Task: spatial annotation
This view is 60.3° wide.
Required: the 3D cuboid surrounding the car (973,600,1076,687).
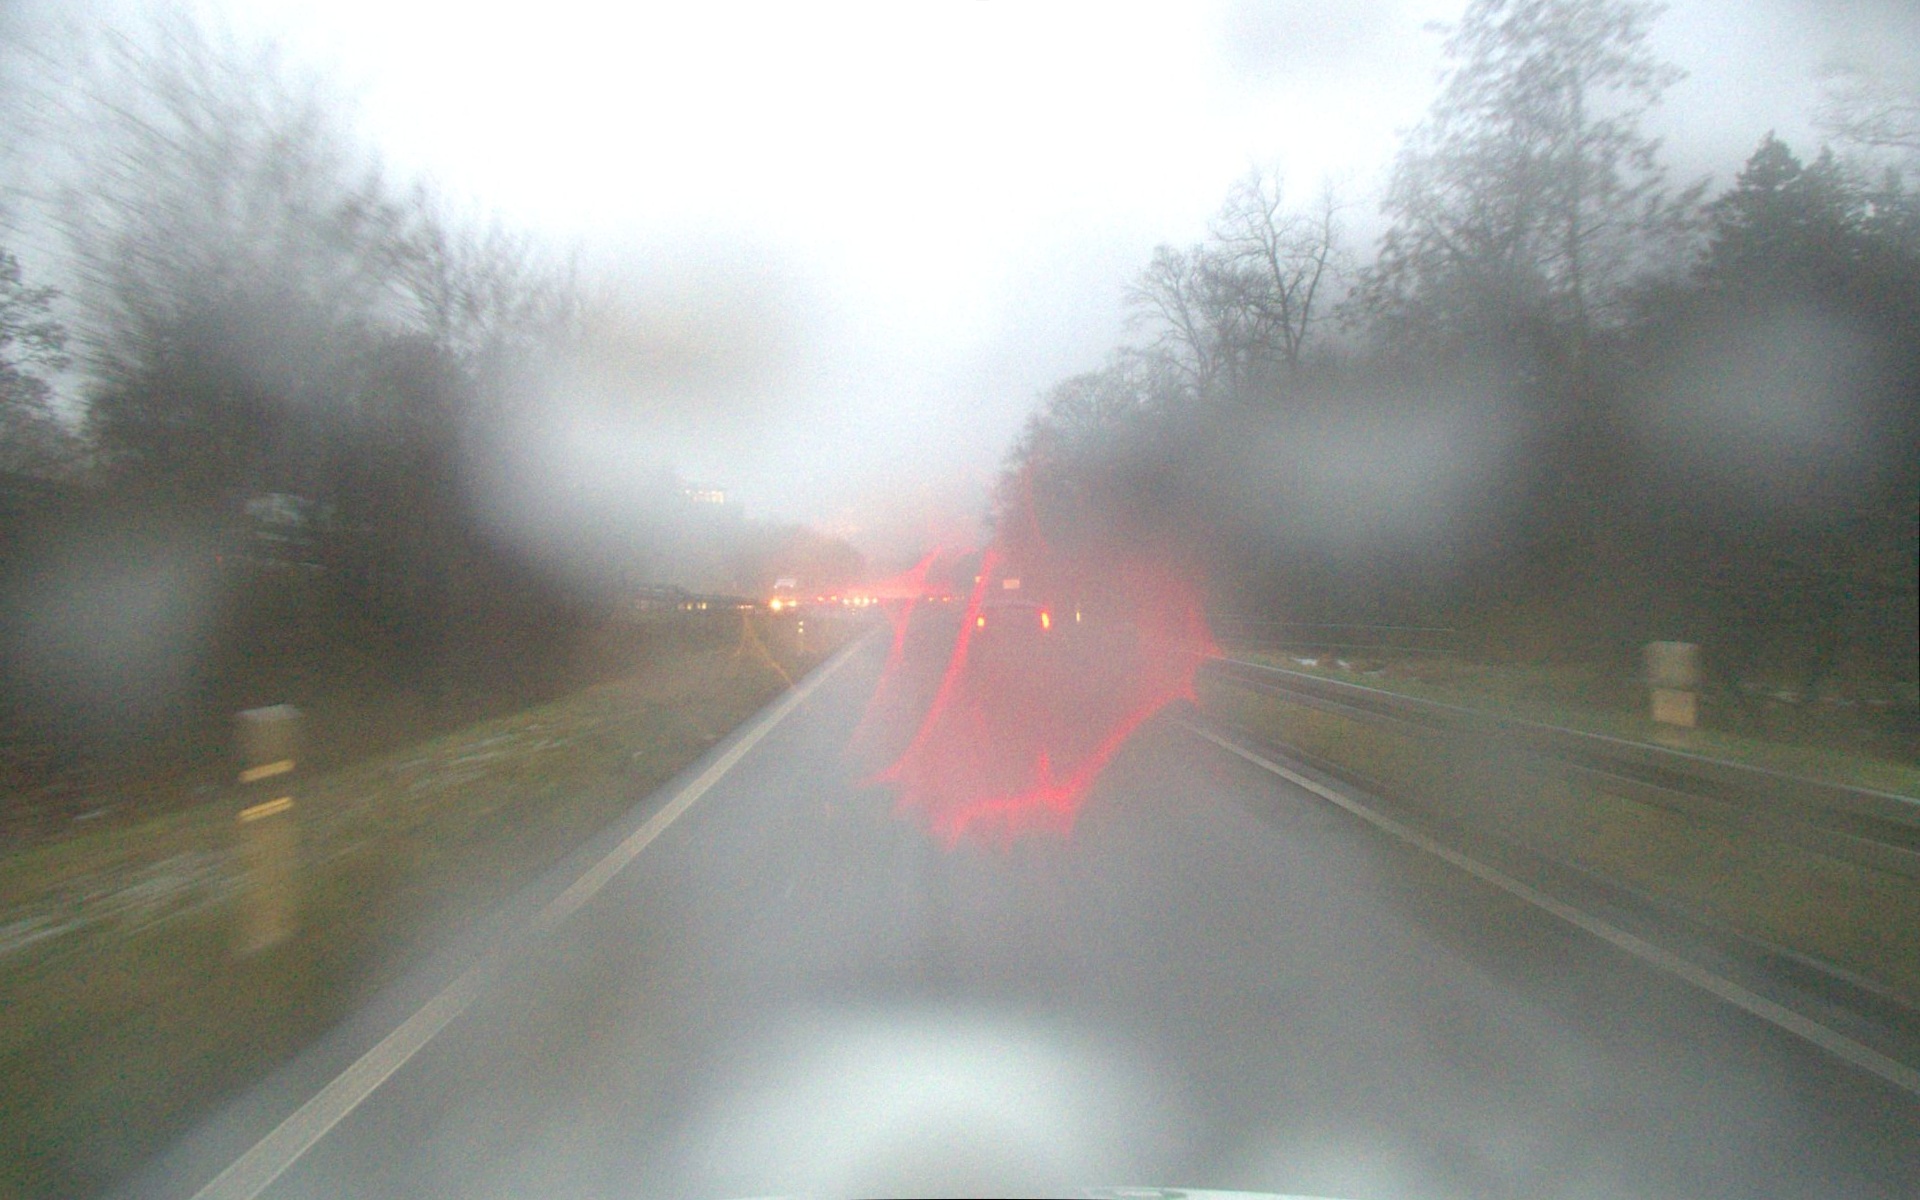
[{"bbox_3d":[1.140,0.762,30.911,1.697,1.454,3.765,3,0,0],"label":"car"}]
